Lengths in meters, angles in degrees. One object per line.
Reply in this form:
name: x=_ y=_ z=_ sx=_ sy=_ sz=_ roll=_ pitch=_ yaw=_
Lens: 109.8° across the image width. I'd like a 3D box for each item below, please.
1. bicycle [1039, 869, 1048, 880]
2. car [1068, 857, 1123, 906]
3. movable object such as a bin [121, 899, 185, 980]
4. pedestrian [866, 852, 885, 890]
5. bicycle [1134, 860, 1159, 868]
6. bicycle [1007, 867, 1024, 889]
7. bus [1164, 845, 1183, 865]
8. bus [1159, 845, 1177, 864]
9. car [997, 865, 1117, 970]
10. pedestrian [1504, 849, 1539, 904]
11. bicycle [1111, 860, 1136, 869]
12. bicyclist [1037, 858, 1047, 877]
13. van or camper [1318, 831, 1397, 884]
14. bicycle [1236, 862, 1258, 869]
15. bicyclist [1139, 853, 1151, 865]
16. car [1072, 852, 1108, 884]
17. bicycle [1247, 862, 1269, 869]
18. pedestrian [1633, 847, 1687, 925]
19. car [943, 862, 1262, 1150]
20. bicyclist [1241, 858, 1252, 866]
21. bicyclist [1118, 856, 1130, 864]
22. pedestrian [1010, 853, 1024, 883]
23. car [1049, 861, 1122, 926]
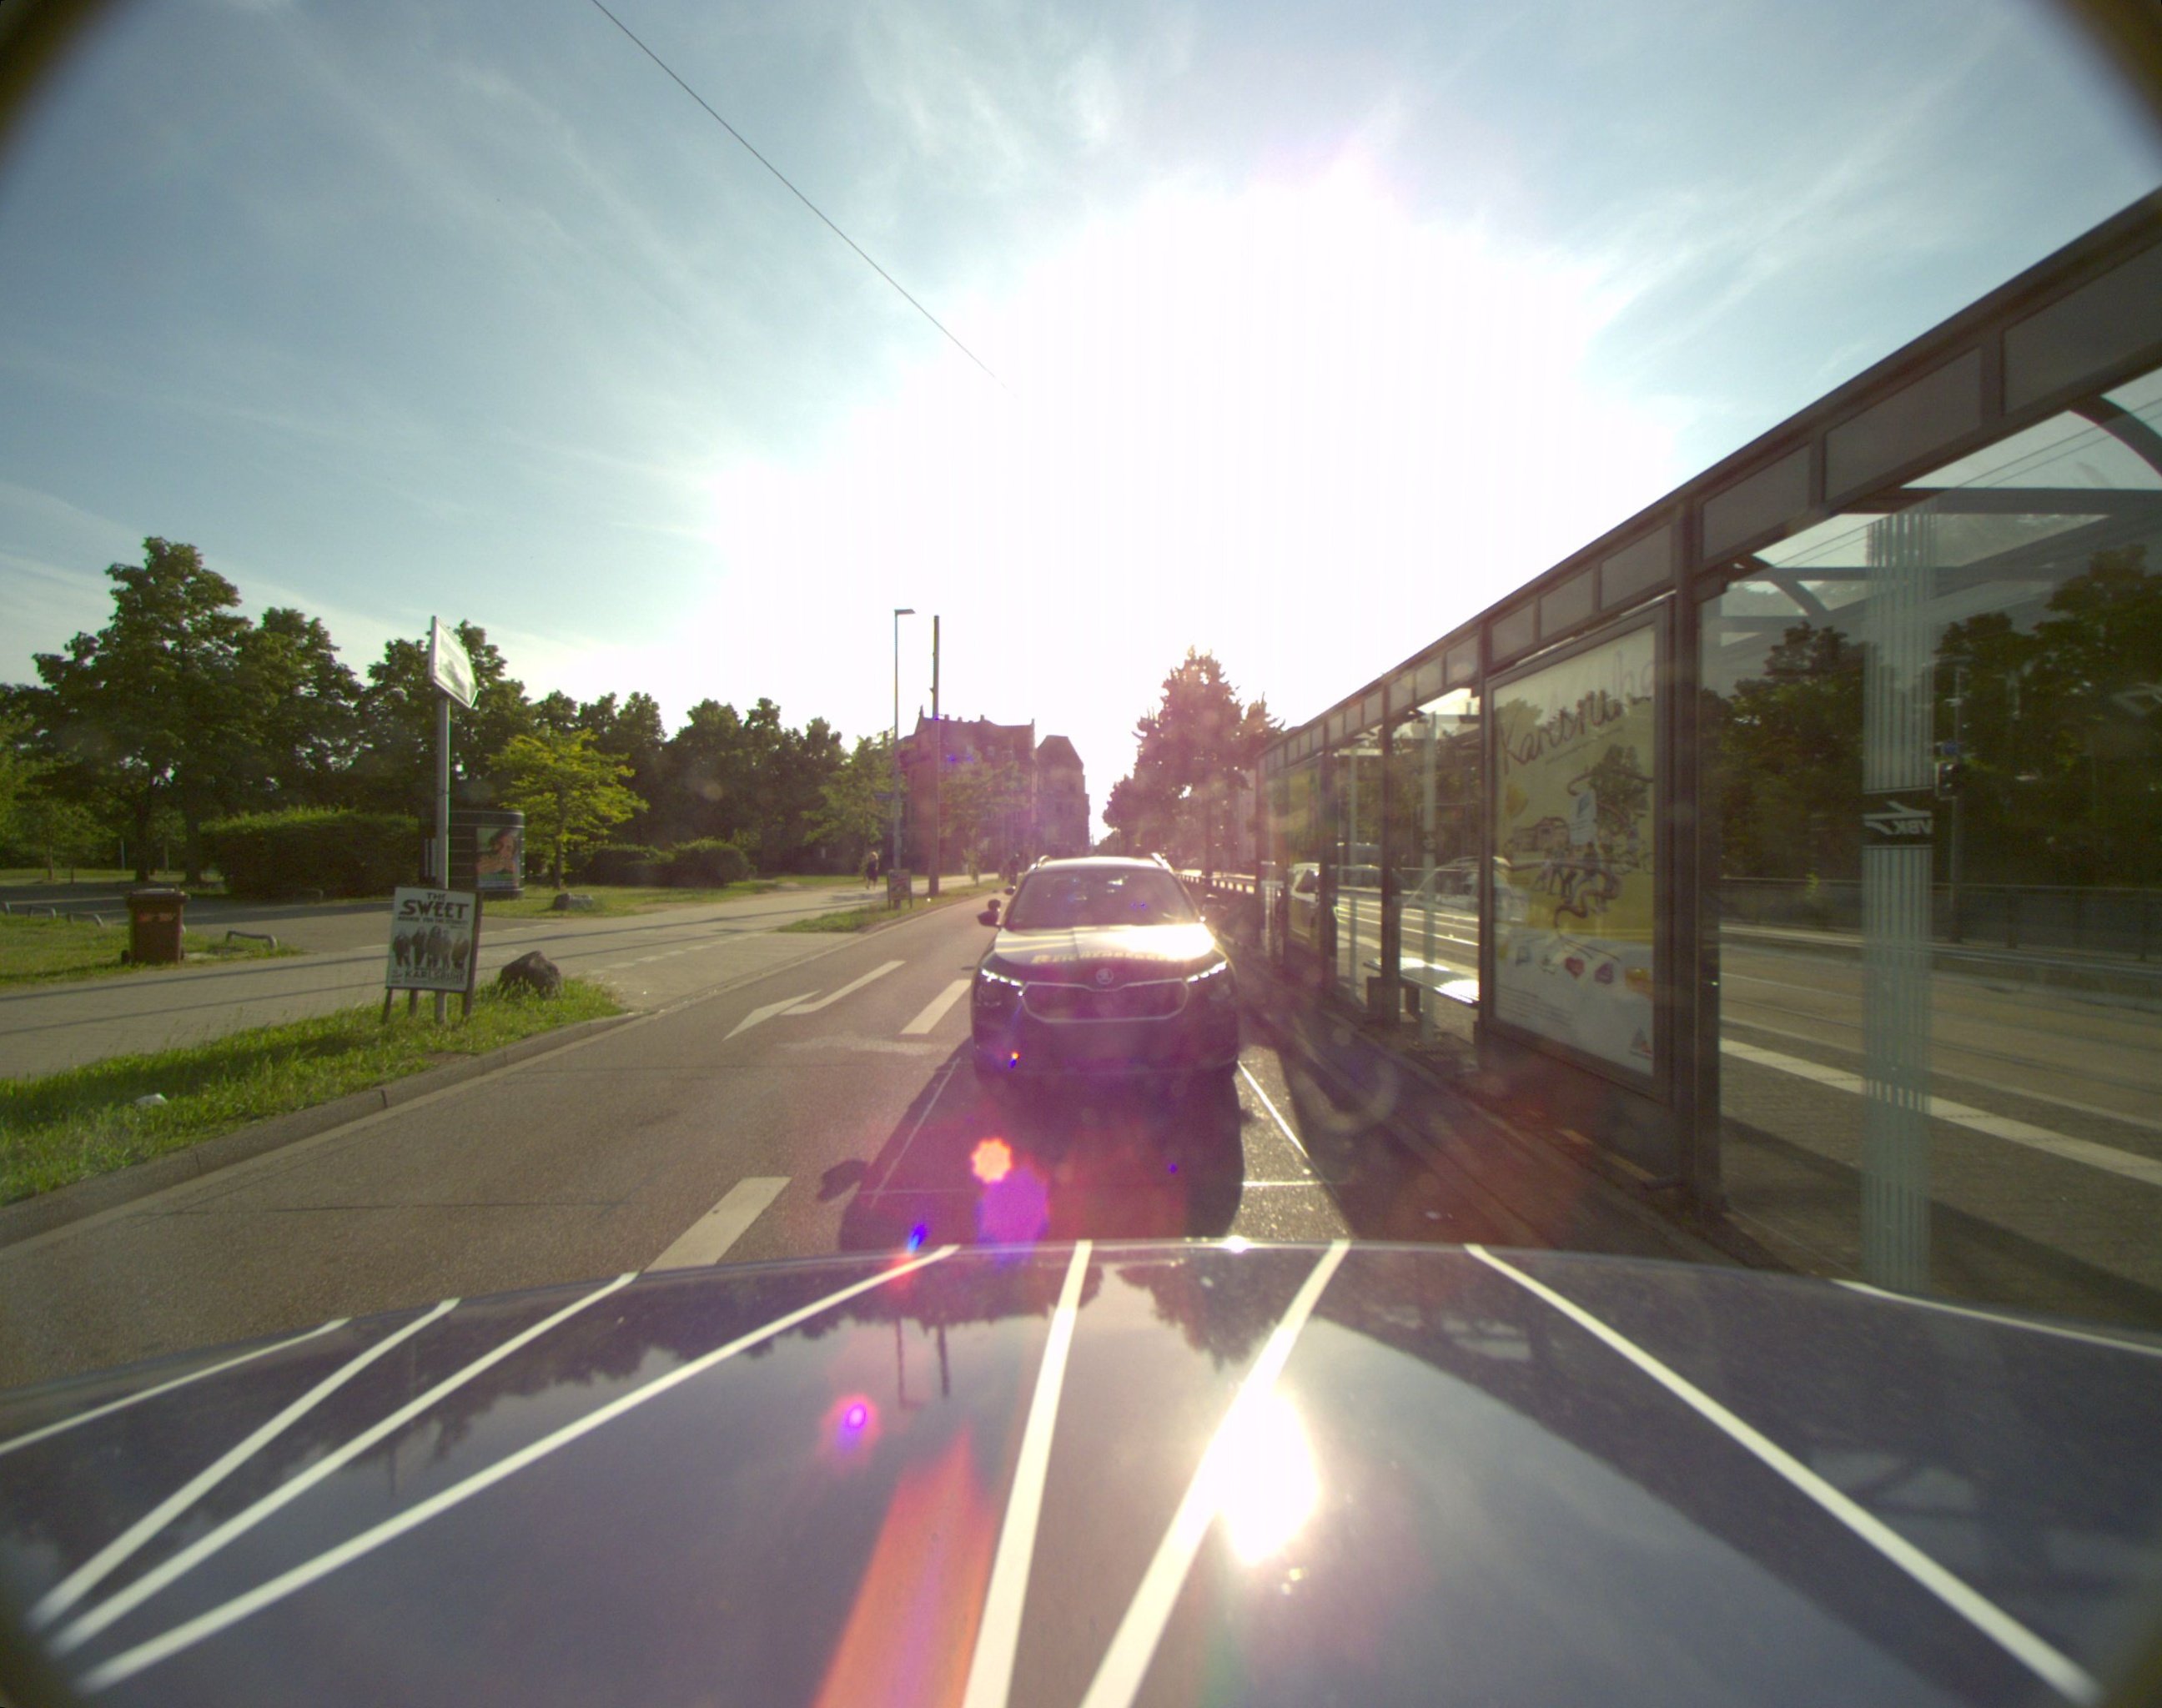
bicycle: x=-2.811 y=1.518 z=57.222 sx=0.567 sy=0.789 sz=2.041 roll=0 pitch=0 yaw=0
car: x=0.515 y=0.903 z=26.999 sx=1.756 sy=1.534 sz=4.235 roll=-1 pitch=0 yaw=1
movable object such as a bin: x=-11.401 y=1.029 z=9.348 sx=0.603 sy=0.912 sz=0.457 roll=1 pitch=1 yaw=42
pedestrian: x=-9.268 y=0.760 z=34.307 sx=0.621 sy=1.675 sz=0.618 roll=-2 pitch=1 yaw=1
bicycle: x=8.190 y=1.253 z=94.730 sx=2.962 sy=0.974 sz=0.879 roll=0 pitch=0 yaw=-2
bicycle: x=-3.425 y=1.254 z=39.897 sx=0.652 sy=1.040 sz=1.980 roll=-2 pitch=1 yaw=0
bus: x=16.661 y=0.107 z=137.586 sx=2.437 sy=3.415 sz=9.261 roll=-2 pitch=1 yaw=1
bus: x=16.814 y=0.079 z=146.847 sx=2.437 sy=3.415 sz=9.261 roll=-2 pitch=1 yaw=1
car: x=-0.318 y=0.979 z=13.393 sx=1.756 sy=1.451 sz=4.235 roll=-1 pitch=0 yaw=1
pedestrian: x=13.769 y=0.688 z=23.774 sx=0.621 sy=1.675 sz=0.618 roll=3 pitch=1 yaw=1
bicycle: x=5.056 y=1.269 z=91.201 sx=2.962 sy=0.974 sz=0.879 roll=0 pitch=0 yaw=-2
bicyclist: x=-2.906 y=1.025 z=57.090 sx=0.689 sy=1.445 sz=1.111 roll=0 pitch=0 yaw=0
van or camper: x=16.860 y=0.193 z=46.718 sx=2.527 sy=2.951 sz=6.411 roll=-2 pitch=1 yaw=1
bicycle: x=20.116 y=1.408 z=92.298 sx=2.536 sy=0.876 sz=0.631 roll=0 pitch=0 yaw=5
bicyclist: x=7.941 y=0.612 z=94.704 sx=1.402 sy=1.538 sz=0.888 roll=0 pitch=0 yaw=-1
car: x=0.474 y=0.679 z=39.563 sx=1.756 sy=1.534 sz=4.235 roll=-1 pitch=0 yaw=1
bicycle: x=21.768 y=1.383 z=93.337 sx=2.536 sy=0.876 sz=0.631 roll=0 pitch=0 yaw=5
pedestrian: x=12.917 y=0.694 z=16.972 sx=0.621 sy=1.675 sz=0.618 roll=3 pitch=1 yaw=1
car: x=0.156 y=0.876 z=6.376 sx=1.756 sy=1.534 sz=4.235 roll=-1 pitch=0 yaw=1
bicyclist: x=20.104 y=0.973 z=92.267 sx=1.217 sy=1.018 sz=0.671 roll=0 pitch=0 yaw=4
bicyclist: x=5.157 y=0.705 z=91.171 sx=1.402 sy=1.000 sz=0.888 roll=0 pitch=0 yaw=-1
pedestrian: x=-3.381 y=0.719 z=40.008 sx=0.637 sy=1.512 sz=0.845 roll=-2 pitch=1 yaw=0
car: x=0.150 y=0.996 z=20.921 sx=1.756 sy=1.534 sz=4.235 roll=-1 pitch=0 yaw=1
